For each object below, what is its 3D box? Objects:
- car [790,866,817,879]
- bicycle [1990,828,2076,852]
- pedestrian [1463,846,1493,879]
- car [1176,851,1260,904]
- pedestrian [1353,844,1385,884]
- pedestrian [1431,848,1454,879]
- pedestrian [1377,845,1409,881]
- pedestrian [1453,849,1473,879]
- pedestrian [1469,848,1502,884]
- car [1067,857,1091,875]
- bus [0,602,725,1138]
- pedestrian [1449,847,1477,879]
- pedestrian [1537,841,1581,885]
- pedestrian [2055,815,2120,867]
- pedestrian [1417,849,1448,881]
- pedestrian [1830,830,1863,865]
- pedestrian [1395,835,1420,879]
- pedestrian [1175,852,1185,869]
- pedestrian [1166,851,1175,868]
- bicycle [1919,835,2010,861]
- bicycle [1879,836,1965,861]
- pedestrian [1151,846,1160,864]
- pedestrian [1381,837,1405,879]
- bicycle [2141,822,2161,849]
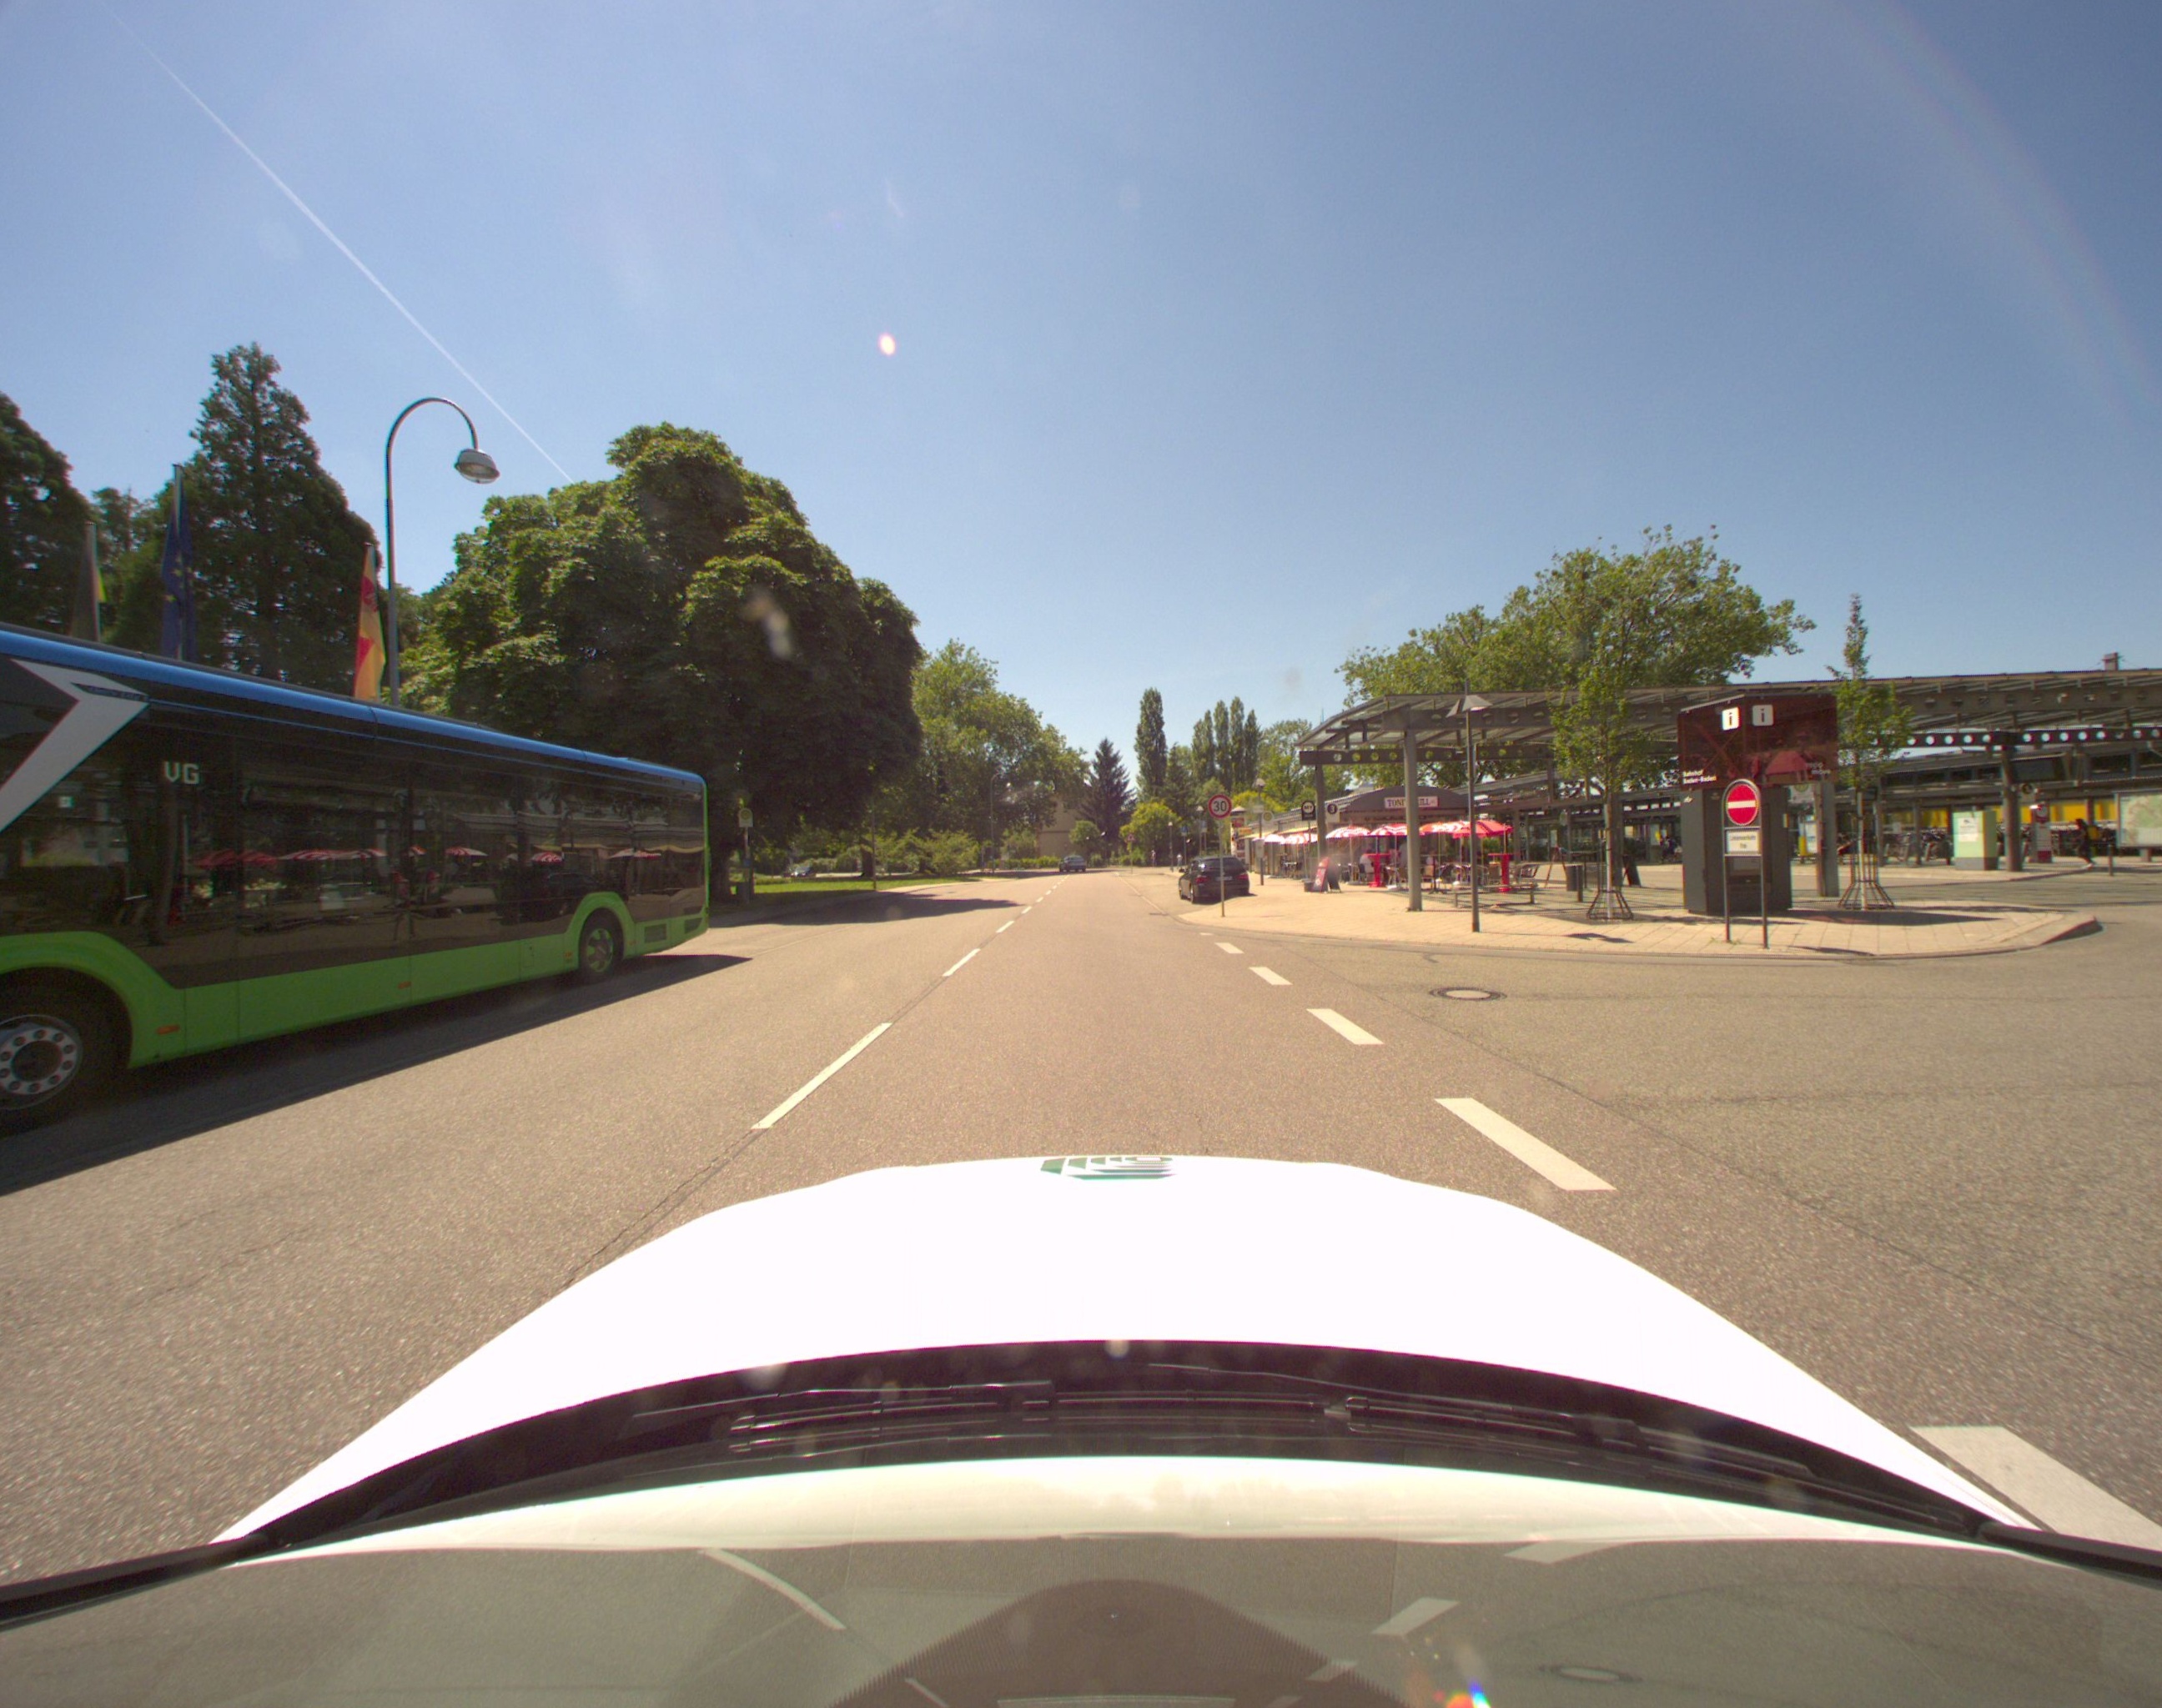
[{"bbox_3d":[-33.552,2.222,98.398,1.542,1.410,3.809,-2,0,6],"label":"car"},{"bbox_3d":[42.421,-0.608,36.316,2.779,1.004,0.966,1,-1,-2],"label":"bicycle"},{"bbox_3d":[14.844,0.330,30.484,0.756,1.205,0.737,0,-1,0],"label":"pedestrian"},{"bbox_3d":[4.444,0.732,27.163,1.921,1.460,4.724,-4,0,0],"label":"car"},{"bbox_3d":[10.358,0.349,29.279,0.899,1.418,0.681,-1,-1,-37],"label":"pedestrian"},{"bbox_3d":[14.495,0.383,32.680,0.653,1.205,0.592,0,-1,0],"label":"pedestrian"},{"bbox_3d":[11.827,0.328,30.871,0.898,1.312,0.681,-1,0,-34],"label":"pedestrian"},{"bbox_3d":[15.310,0.389,32.673,0.650,1.205,0.595,0,-1,16],"label":"pedestrian"},{"bbox_3d":[13.270,0.391,26.746,0.683,1.161,0.896,-2,0,5],"label":"pedestrian"},{"bbox_3d":[-0.198,1.203,82.873,1.973,1.627,4.785,-2,0,5],"label":"car"},{"bbox_3d":[-7.987,0.121,8.598,2.799,3.283,12.425,-2,0,1],"label":"bus"},{"bbox_3d":[14.804,0.347,31.570,0.756,1.205,0.737,0,-1,0],"label":"pedestrian"},{"bbox_3d":[14.606,0.272,24.901,0.841,1.277,0.896,-2,0,5],"label":"pedestrian"},{"bbox_3d":[31.597,-0.401,25.583,0.916,1.590,0.860,-2,0,15],"label":"pedestrian"},{"bbox_3d":[13.285,0.414,30.770,0.898,1.161,0.681,-1,0,-34],"label":"pedestrian"},{"bbox_3d":[31.688,-0.256,33.717,0.623,1.395,0.676,-3,-1,0],"label":"pedestrian"},{"bbox_3d":[13.079,0.123,32.618,0.684,1.738,0.707,-2,-1,0],"label":"pedestrian"},{"bbox_3d":[9.838,0.656,81.189,0.713,1.650,0.755,-2,-3,28],"label":"pedestrian"},{"bbox_3d":[8.811,0.582,79.797,0.629,1.650,0.755,-2,-3,28],"label":"pedestrian"},{"bbox_3d":[34.715,-0.230,32.012,2.779,1.004,0.811,1,-1,-2],"label":"bicycle"},{"bbox_3d":[34.428,-0.210,33.359,2.779,1.004,0.811,1,-1,-2],"label":"bicycle"},{"bbox_3d":[8.064,0.086,88.402,0.849,1.965,0.808,-2,0,9],"label":"pedestrian"},{"bbox_3d":[13.113,0.160,34.226,0.684,1.738,0.707,-2,-1,0],"label":"pedestrian"},{"bbox_3d":[42.004,-0.701,30.768,2.779,1.004,0.966,1,-1,-2],"label":"bicycle"}]
